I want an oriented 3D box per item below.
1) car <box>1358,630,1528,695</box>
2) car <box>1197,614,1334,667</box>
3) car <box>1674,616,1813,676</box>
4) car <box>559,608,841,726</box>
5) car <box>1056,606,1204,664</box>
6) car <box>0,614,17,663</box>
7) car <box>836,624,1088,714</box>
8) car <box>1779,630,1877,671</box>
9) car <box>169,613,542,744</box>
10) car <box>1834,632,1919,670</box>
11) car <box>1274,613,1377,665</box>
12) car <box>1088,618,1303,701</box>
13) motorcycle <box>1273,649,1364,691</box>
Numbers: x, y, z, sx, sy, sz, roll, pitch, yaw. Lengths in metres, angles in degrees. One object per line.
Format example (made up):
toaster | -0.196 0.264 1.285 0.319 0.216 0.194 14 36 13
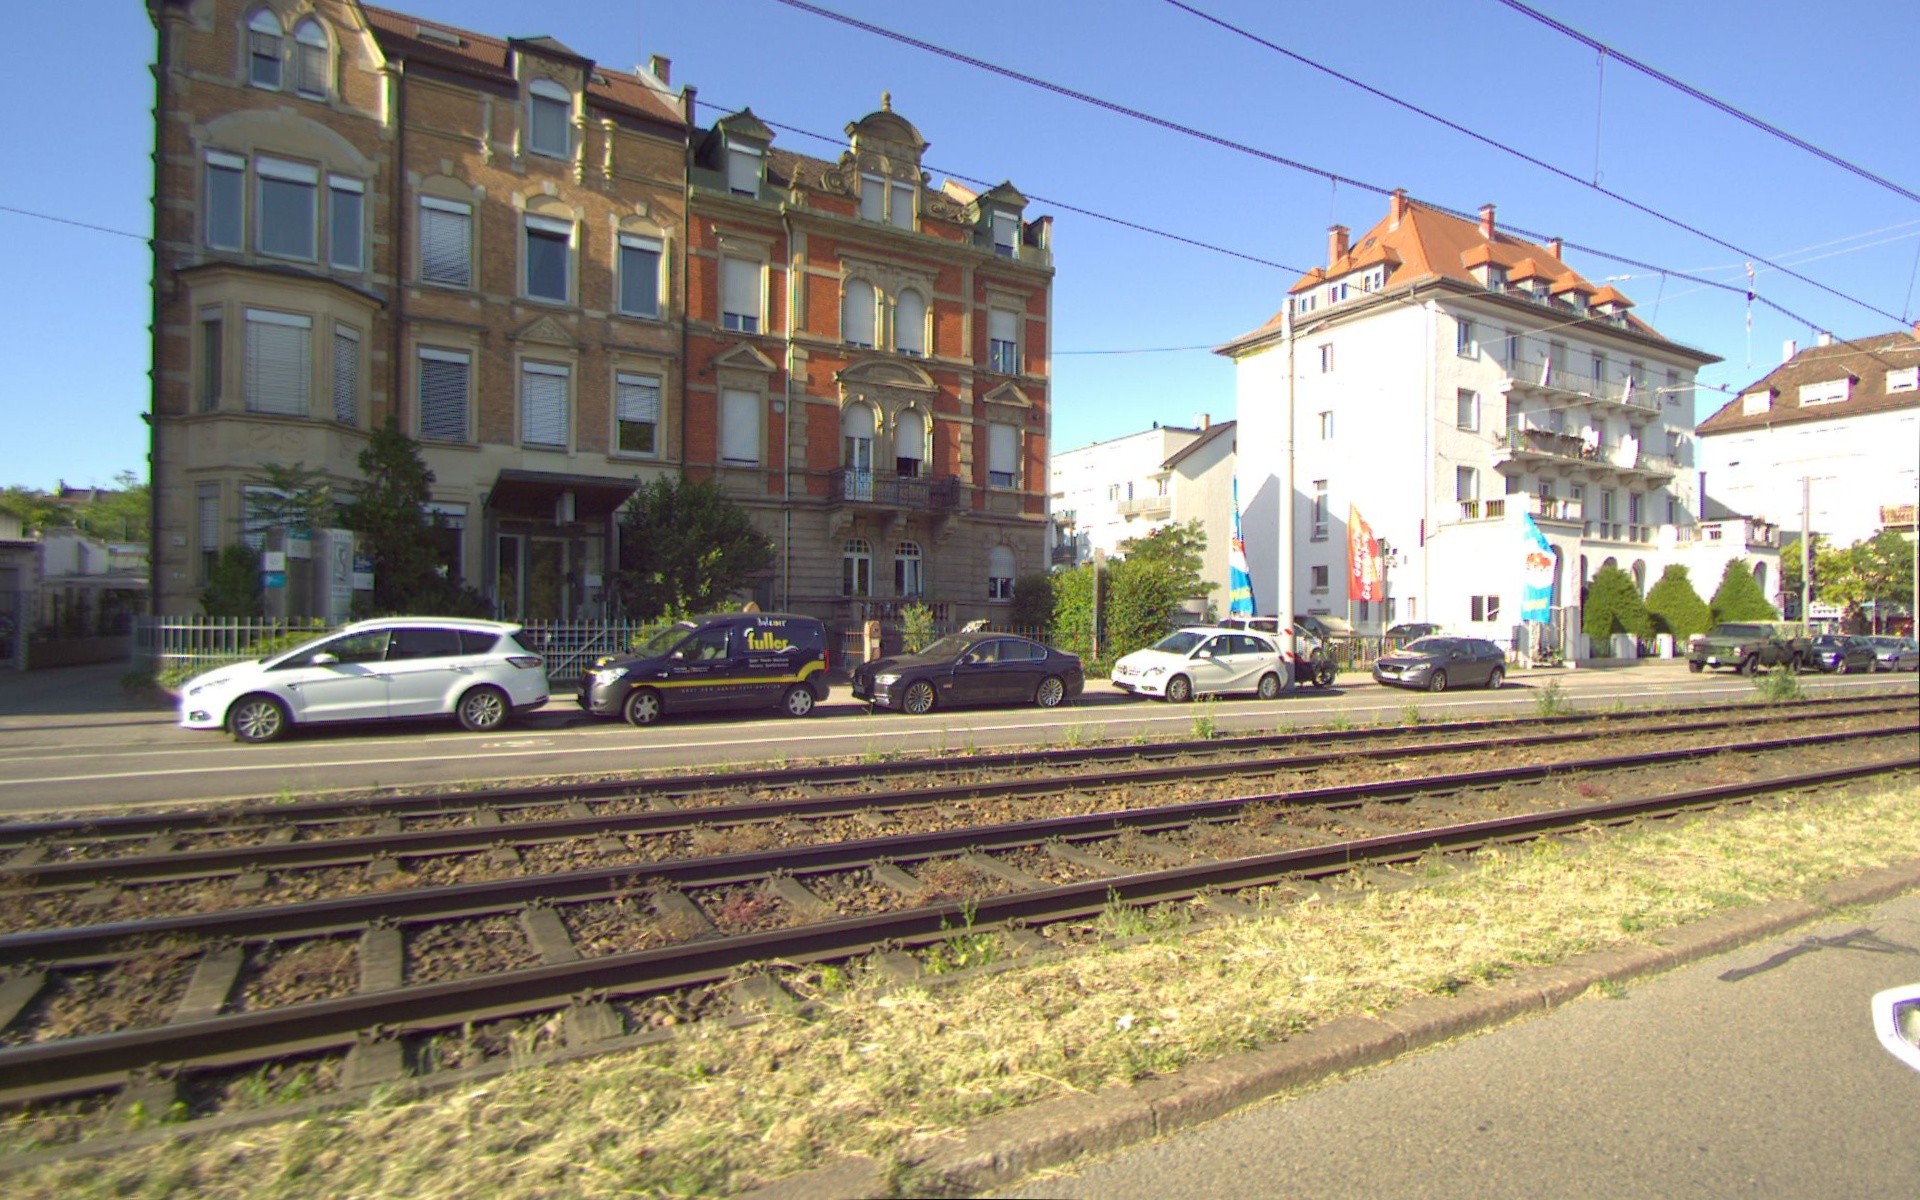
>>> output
car | 13.466 1.675 27.952 4.787 1.480 1.910 1 4 -32
car | 10.691 1.441 35.105 4.502 1.677 1.898 3 -3 -26
car | 29.538 1.708 37.831 5.521 2.037 2.069 1 0 -28
car | -4.526 1.096 17.748 4.451 1.804 1.909 1 0 -34
car | 5.559 1.170 32.718 4.502 1.677 1.898 3 -3 -26
car | -31.954 1.201 30.999 3.922 1.530 1.800 0 -2 -2
car | 0.082 1.313 20.320 4.785 1.581 1.911 1 0 -30
car | 35.117 2.042 40.622 4.107 1.527 1.628 2 0 -28
car | -8.937 1.093 15.277 4.572 1.706 1.912 1 0 -30
car | 39.893 2.201 43.488 3.951 1.530 1.786 2 0 -29
car | 15.334 1.608 42.380 1.958 2.029 4.066 0 -1 -20
car | 5.498 1.322 23.329 4.781 1.717 1.913 1 0 -28
motorcycle | 9.266 1.809 25.988 2.116 0.967 0.826 2 0 -16
